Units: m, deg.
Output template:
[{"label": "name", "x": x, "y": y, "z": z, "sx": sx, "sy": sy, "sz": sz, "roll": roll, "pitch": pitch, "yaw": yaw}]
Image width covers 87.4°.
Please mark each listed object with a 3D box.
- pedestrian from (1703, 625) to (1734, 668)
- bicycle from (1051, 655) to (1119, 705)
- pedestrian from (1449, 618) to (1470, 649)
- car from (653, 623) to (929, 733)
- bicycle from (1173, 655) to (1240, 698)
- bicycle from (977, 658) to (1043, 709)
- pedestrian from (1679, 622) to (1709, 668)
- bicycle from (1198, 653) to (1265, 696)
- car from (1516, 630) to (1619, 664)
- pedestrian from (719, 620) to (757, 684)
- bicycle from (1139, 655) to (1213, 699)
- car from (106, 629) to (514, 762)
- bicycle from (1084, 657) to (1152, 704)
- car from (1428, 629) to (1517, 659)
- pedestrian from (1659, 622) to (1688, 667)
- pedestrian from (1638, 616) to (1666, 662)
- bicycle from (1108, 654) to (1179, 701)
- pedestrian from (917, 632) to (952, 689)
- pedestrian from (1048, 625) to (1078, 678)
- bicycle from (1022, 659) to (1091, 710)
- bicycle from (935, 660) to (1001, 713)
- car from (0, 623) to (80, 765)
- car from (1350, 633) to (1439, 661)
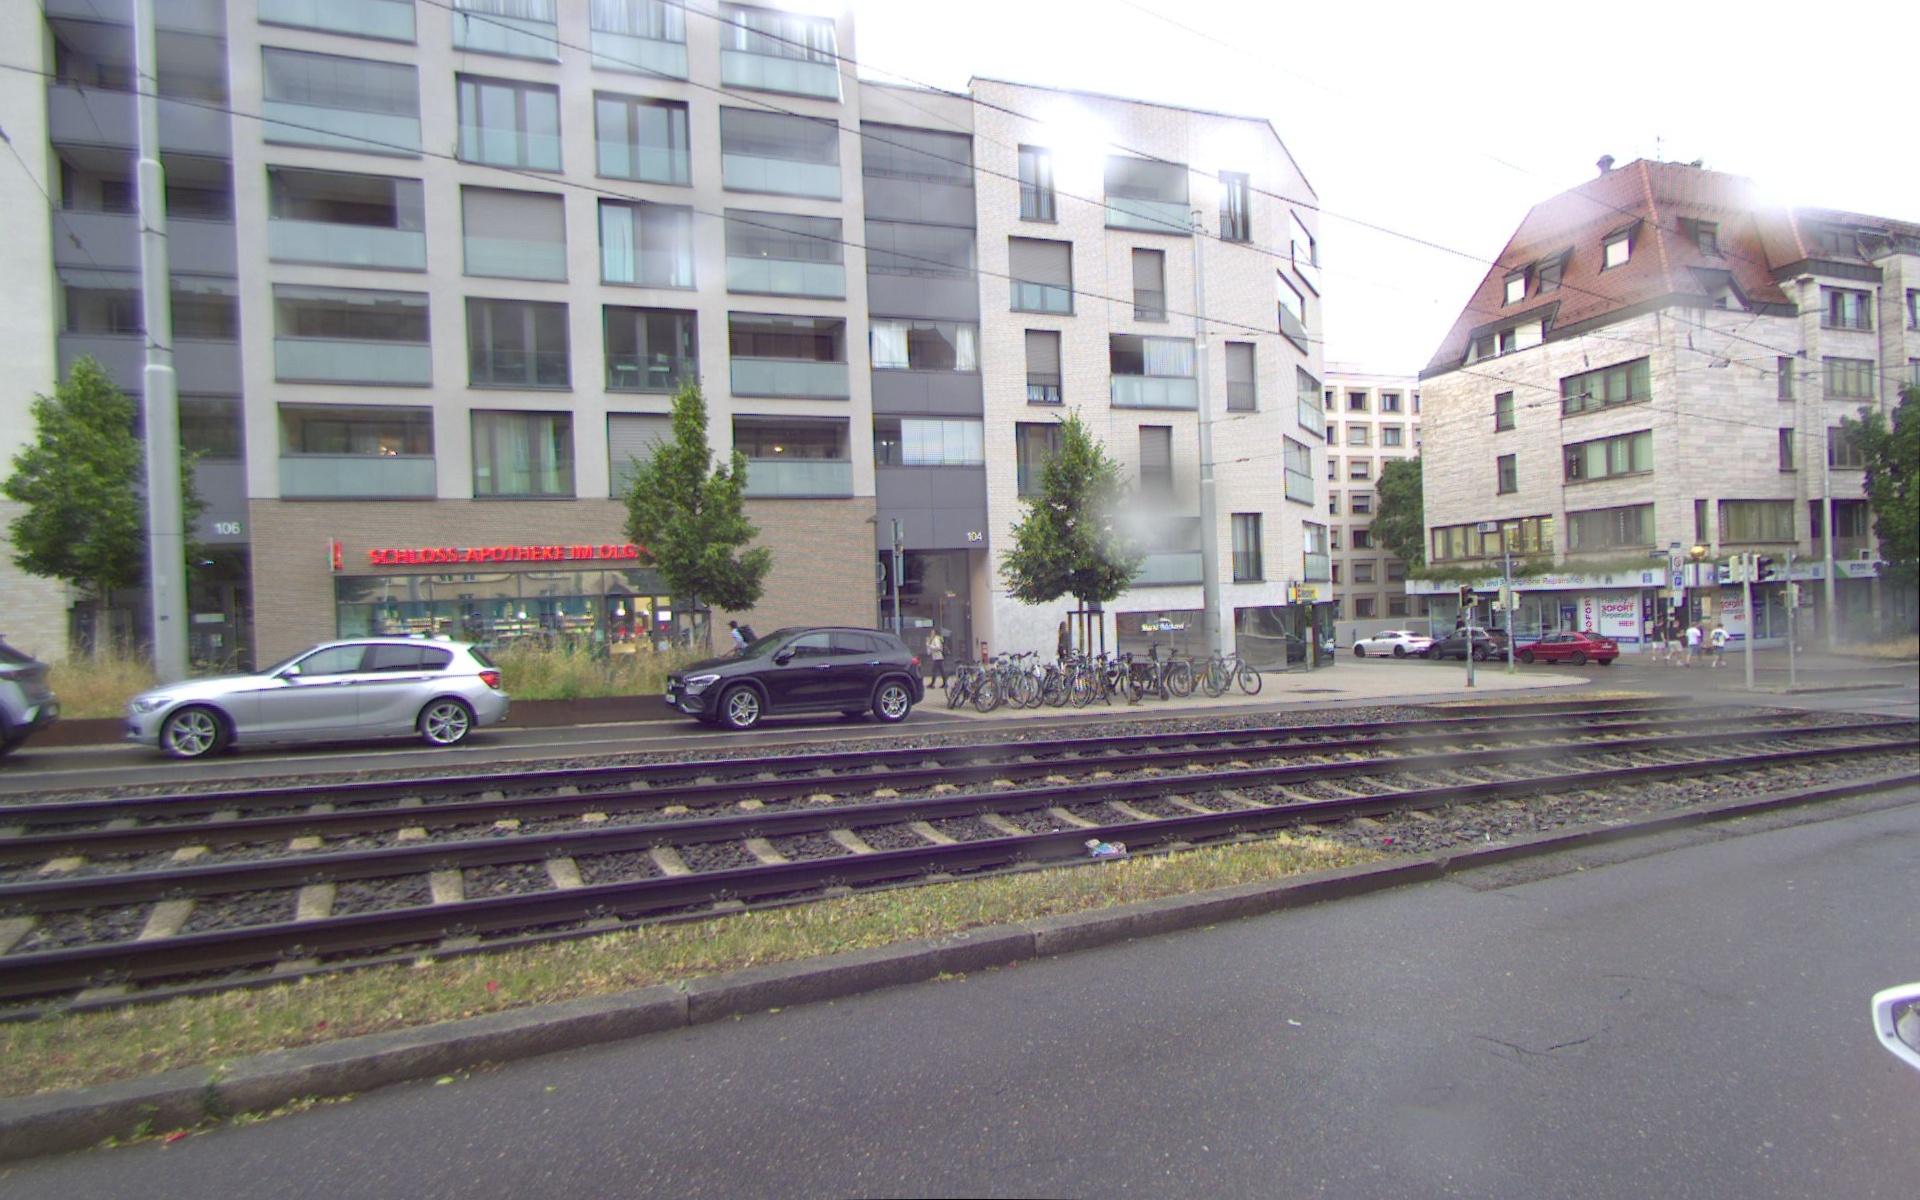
[{"label": "pedestrian", "x": 28.959, "y": 1.773, "z": 38.342, "sx": 0.674, "sy": 1.569, "sz": 0.646, "roll": 1, "pitch": 1, "yaw": -22}, {"label": "bicycle", "x": 2.681, "y": 1.704, "z": 21.683, "sx": 0.383, "sy": 0.930, "sz": 1.772, "roll": 1, "pitch": 0, "yaw": -34}, {"label": "pedestrian", "x": 26.135, "y": 1.756, "z": 52.555, "sx": 0.640, "sy": 1.569, "sz": 0.680, "roll": 1, "pitch": 1, "yaw": -21}, {"label": "car", "x": -2.794, "y": 1.230, "z": 16.930, "sx": 4.280, "sy": 1.625, "sz": 1.671, "roll": 1, "pitch": -1, "yaw": -31}, {"label": "bicycle", "x": 5.841, "y": 1.805, "z": 23.924, "sx": 0.383, "sy": 0.888, "sz": 1.774, "roll": 1, "pitch": 0, "yaw": -31}, {"label": "bicycle", "x": 1.011, "y": 1.701, "z": 20.653, "sx": 0.383, "sy": 0.930, "sz": 1.772, "roll": 1, "pitch": -1, "yaw": -34}, {"label": "pedestrian", "x": 28.610, "y": 1.747, "z": 39.139, "sx": 0.674, "sy": 1.747, "sz": 0.646, "roll": 1, "pitch": 1, "yaw": -22}, {"label": "bicycle", "x": 6.688, "y": 1.817, "z": 24.811, "sx": 0.436, "sy": 0.993, "sz": 1.773, "roll": 1, "pitch": -2, "yaw": -34}, {"label": "car", "x": 25.884, "y": 1.985, "z": 42.917, "sx": 1.568, "sy": 1.335, "sz": 3.692, "roll": 1, "pitch": -2, "yaw": -17}, {"label": "pedestrian", "x": -5.249, "y": 1.215, "z": 23.710, "sx": 0.790, "sy": 1.468, "sz": 0.656, "roll": 1, "pitch": 0, "yaw": -18}, {"label": "bicycle", "x": 5.092, "y": 1.801, "z": 23.771, "sx": 1.764, "sy": 0.930, "sz": 0.385, "roll": 0, "pitch": 0, "yaw": 44}, {"label": "car", "x": -8.362, "y": 1.159, "z": 13.348, "sx": 4.280, "sy": 1.484, "sz": 1.671, "roll": 1, "pitch": -1, "yaw": -31}, {"label": "bicycle", "x": 3.506, "y": 1.772, "z": 22.428, "sx": 0.383, "sy": 0.930, "sz": 1.772, "roll": 1, "pitch": -1, "yaw": -34}, {"label": "car", "x": 24.183, "y": 2.074, "z": 47.543, "sx": 1.570, "sy": 1.335, "sz": 3.689, "roll": 1, "pitch": -2, "yaw": -20}, {"label": "pedestrian", "x": 28.416, "y": 1.771, "z": 40.011, "sx": 0.674, "sy": 1.772, "sz": 0.646, "roll": 1, "pitch": 1, "yaw": -22}, {"label": "pedestrian", "x": 28.560, "y": 1.596, "z": 41.460, "sx": 0.674, "sy": 1.867, "sz": 0.646, "roll": 1, "pitch": 1, "yaw": -22}, {"label": "bicycle", "x": 4.179, "y": 1.755, "z": 23.009, "sx": 0.384, "sy": 0.930, "sz": 1.770, "roll": 1, "pitch": 0, "yaw": -38}, {"label": "pedestrian", "x": -0.672, "y": 1.588, "z": 26.542, "sx": 0.790, "sy": 1.468, "sz": 0.538, "roll": 1, "pitch": 1, "yaw": -18}, {"label": "pedestrian", "x": 3.167, "y": 1.581, "z": 30.949, "sx": 0.637, "sy": 1.590, "sz": 0.775, "roll": 0, "pitch": -1, "yaw": 33}, {"label": "bicycle", "x": 1.996, "y": 1.731, "z": 20.935, "sx": 0.383, "sy": 0.930, "sz": 1.772, "roll": 1, "pitch": -1, "yaw": -34}, {"label": "bicycle", "x": 0.141, "y": 1.719, "z": 20.222, "sx": 0.383, "sy": 0.930, "sz": 1.772, "roll": 1, "pitch": -1, "yaw": -34}, {"label": "car", "x": -12.377, "y": 1.023, "z": 10.925, "sx": 4.010, "sy": 1.550, "sz": 1.669, "roll": 2, "pitch": -1, "yaw": -35}, {"label": "car", "x": 22.469, "y": 2.422, "z": 52.134, "sx": 1.570, "sy": 1.335, "sz": 4.482, "roll": 1, "pitch": -2, "yaw": -20}]
